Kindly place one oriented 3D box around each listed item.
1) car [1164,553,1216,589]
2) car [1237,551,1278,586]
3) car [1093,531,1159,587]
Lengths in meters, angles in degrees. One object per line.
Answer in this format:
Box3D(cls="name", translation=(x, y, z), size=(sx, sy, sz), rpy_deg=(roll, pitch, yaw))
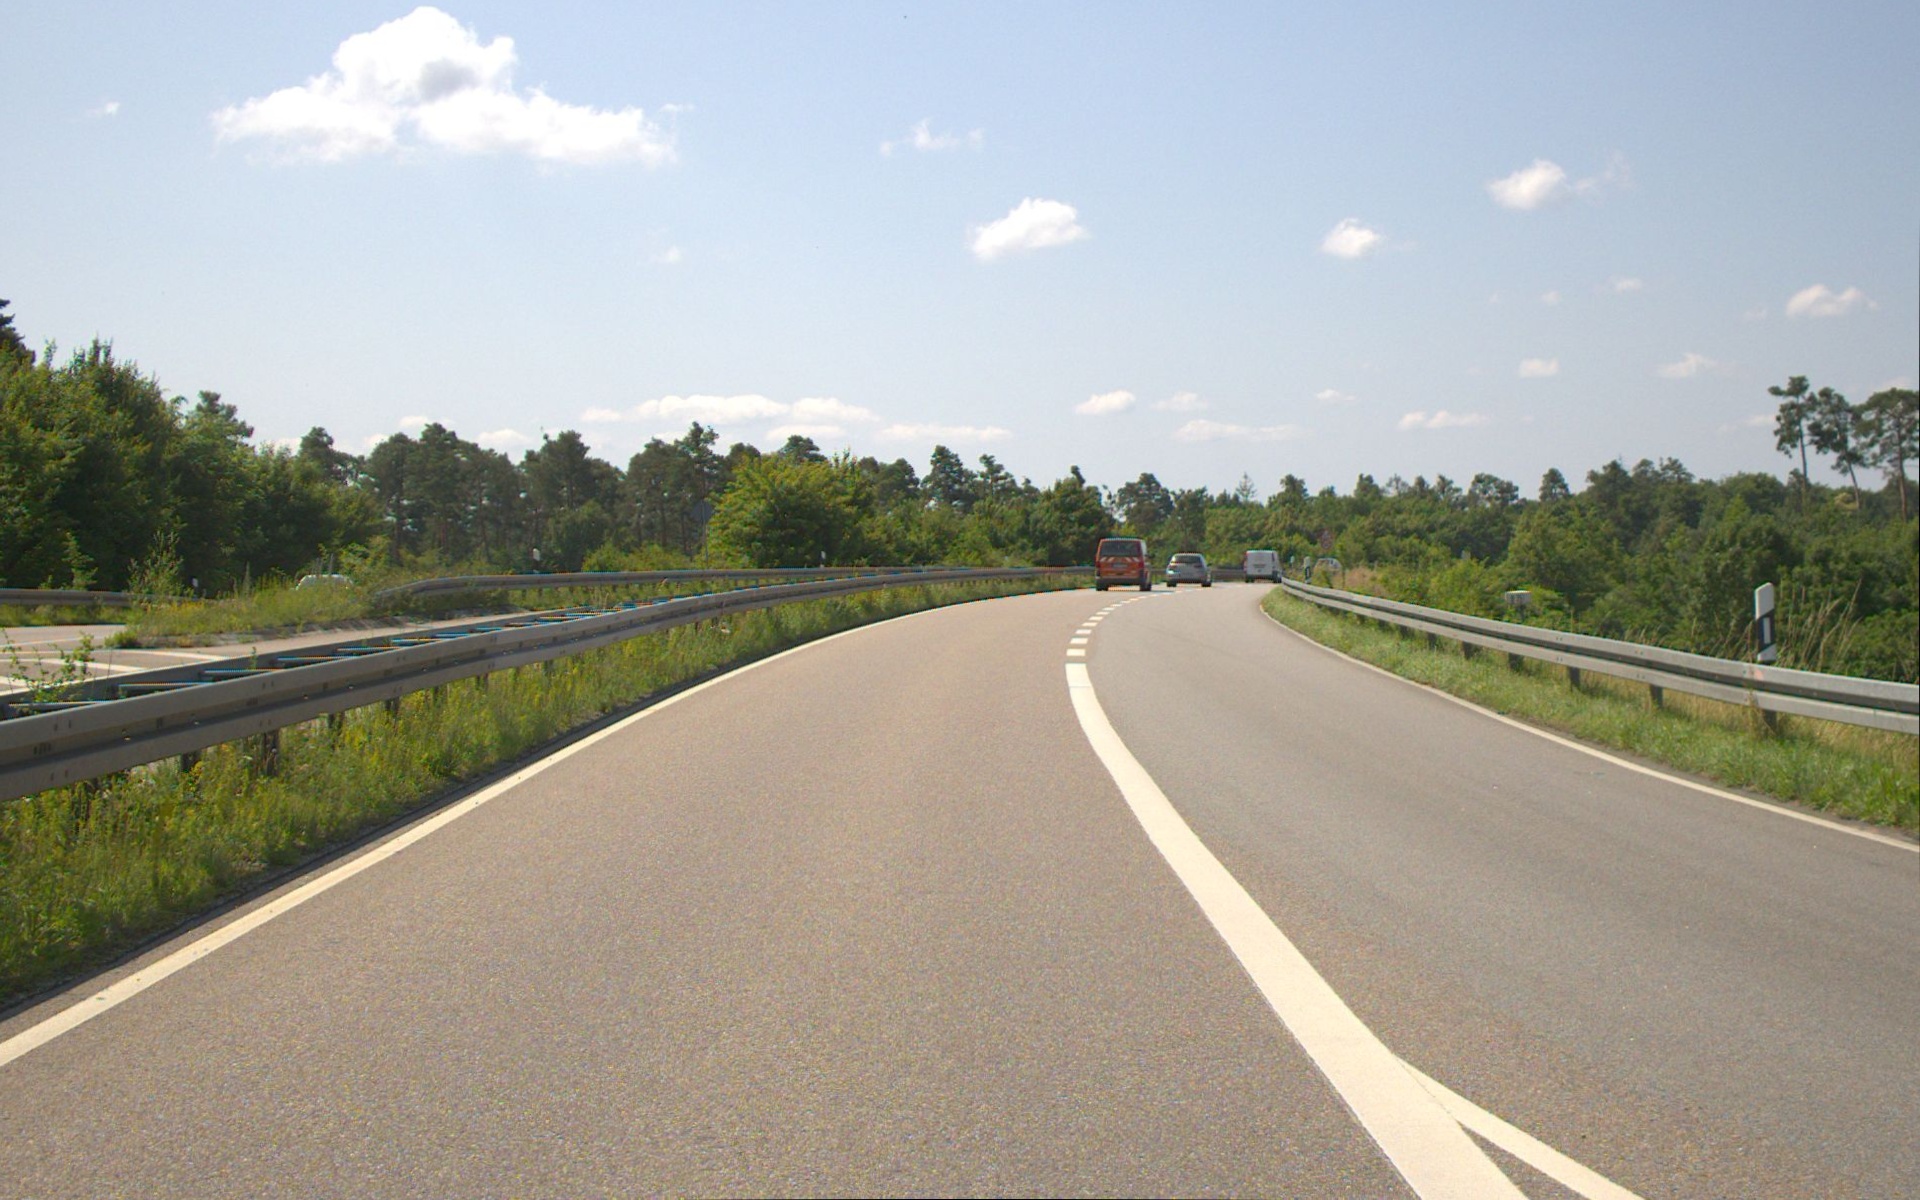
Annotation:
Box3D(cls="car", translation=(10.104, -1.265, 150.679), size=(2.008, 1.489, 4.237), rpy_deg=(1, 0, 7))
Box3D(cls="car", translation=(17.492, -1.826, 202.022), size=(2.185, 1.948, 5.802), rpy_deg=(1, 0, 7))
Box3D(cls="car", translation=(6.227, -1.505, 128.613), size=(2.078, 1.986, 5.110), rpy_deg=(1, 0, 7))
